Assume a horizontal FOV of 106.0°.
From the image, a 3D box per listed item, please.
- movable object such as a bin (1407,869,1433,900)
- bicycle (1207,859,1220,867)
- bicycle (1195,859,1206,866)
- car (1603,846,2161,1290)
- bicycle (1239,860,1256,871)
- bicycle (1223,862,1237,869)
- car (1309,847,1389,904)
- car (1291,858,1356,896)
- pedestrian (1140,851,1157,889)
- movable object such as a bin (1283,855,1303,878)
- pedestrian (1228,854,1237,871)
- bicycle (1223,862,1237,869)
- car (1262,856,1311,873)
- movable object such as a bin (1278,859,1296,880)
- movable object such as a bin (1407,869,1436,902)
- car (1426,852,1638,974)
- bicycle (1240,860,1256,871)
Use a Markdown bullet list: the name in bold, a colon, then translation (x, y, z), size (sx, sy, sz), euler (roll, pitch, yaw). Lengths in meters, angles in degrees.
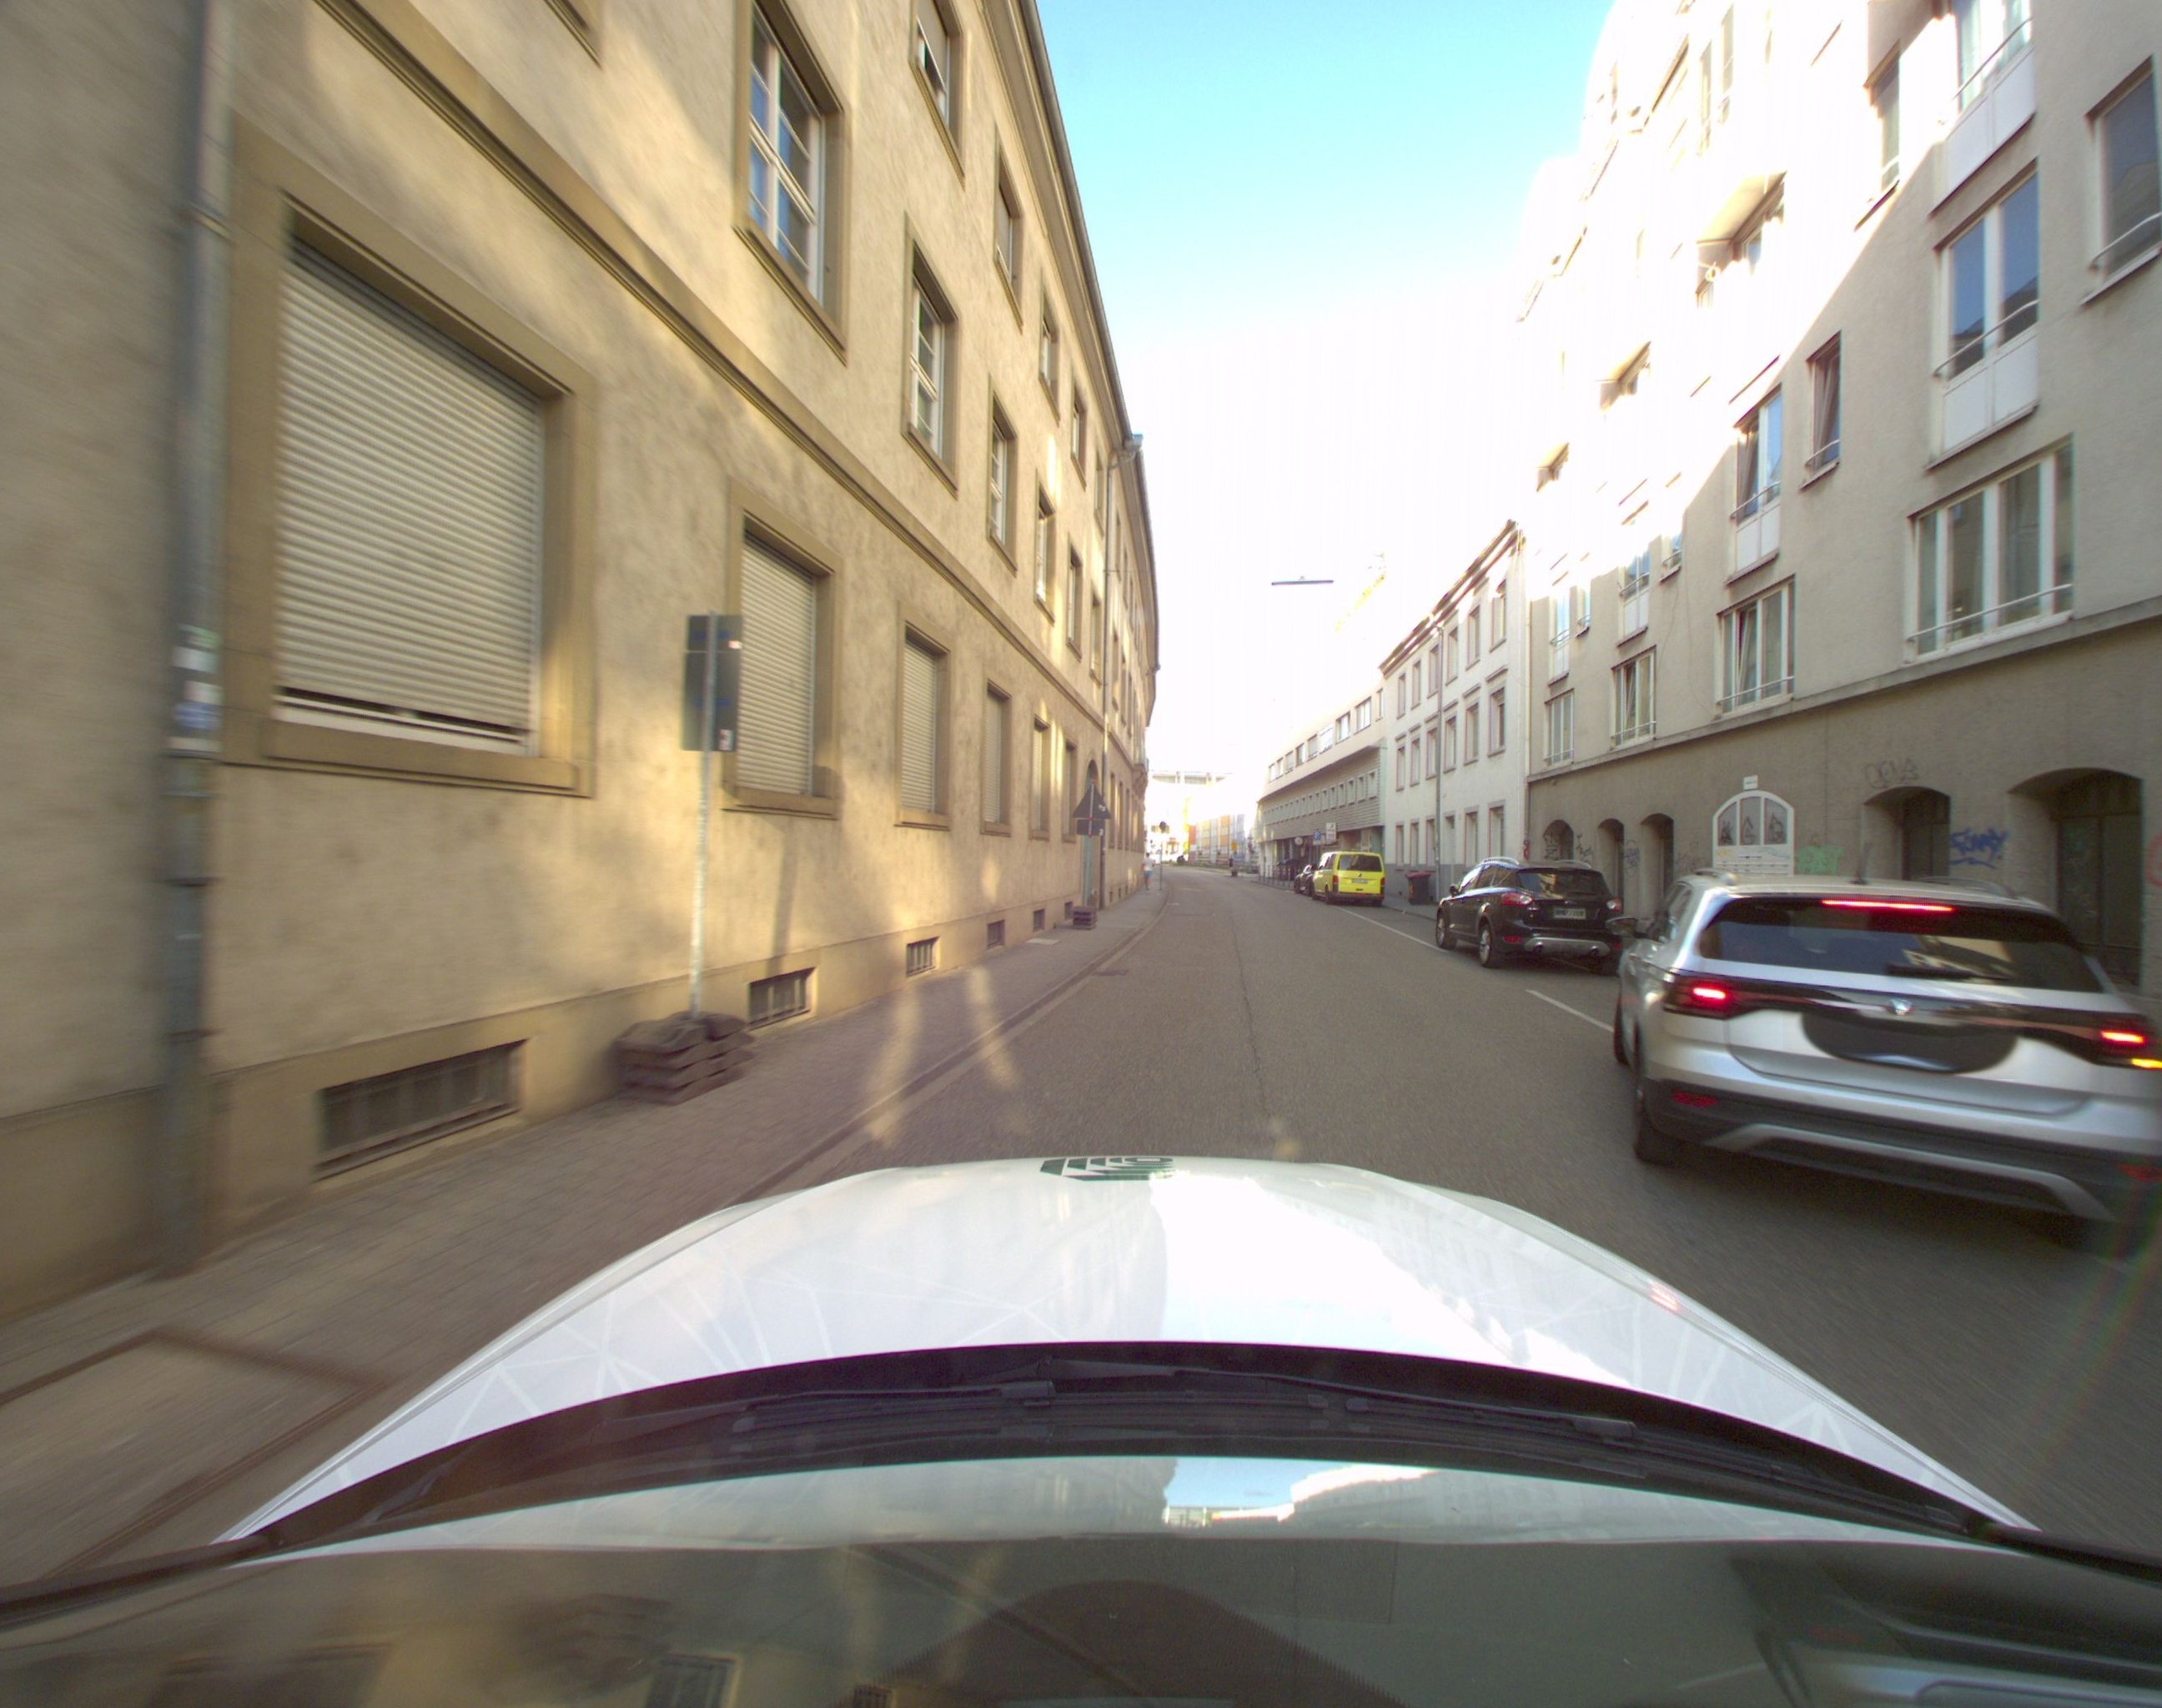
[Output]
- **movable object such as a bin**: translation (11.869, 1.063, 28.535), size (0.603, 1.051, 0.709), euler (-4, -1, 6)
- **bicycle**: translation (19.594, 1.314, 120.238), size (1.804, 1.137, 0.552), euler (0, -1, 0)
- **bicycle**: translation (19.754, 1.395, 134.557), size (1.749, 1.004, 0.612), euler (-1, -1, -3)
- **car**: translation (4.308, 0.784, 4.993), size (1.807, 1.559, 4.011), euler (1, 0, 32)
- **bicycle**: translation (18.381, 1.296, 89.712), size (1.742, 1.141, 0.552), euler (-3, 0, 1)
- **bicycle**: translation (18.931, 1.456, 103.641), size (1.741, 0.946, 0.552), euler (-1, -1, 1)
- **car**: translation (9.763, 0.743, 30.036), size (1.873, 1.882, 4.855), euler (1, 0, 7)
- **car**: translation (10.451, 0.942, 35.415), size (1.874, 1.489, 4.374), euler (1, 0, 5)
- **pedestrian**: translation (3.047, 0.725, 36.744), size (0.689, 1.670, 0.876), euler (2, -1, 6)
- **movable object such as a bin**: translation (14.051, 0.821, 54.039), size (0.976, 1.480, 1.553), euler (-1, -3, 4)
- **pedestrian**: translation (16.355, 0.888, 87.761), size (0.694, 1.760, 1.189), euler (-2, -1, 2)
- **bicycle**: translation (19.121, 1.448, 104.313), size (1.741, 0.946, 0.552), euler (-1, -1, 1)
- **car**: translation (18.487, 0.918, 73.404), size (4.062, 1.482, 1.866), euler (0, -1, 2)
- **movable object such as a bin**: translation (14.072, 1.077, 55.669), size (0.976, 1.385, 1.322), euler (-1, -3, 4)
- **movable object such as a bin**: translation (11.603, 1.057, 27.761), size (0.624, 1.051, 0.709), euler (-4, -1, 2)
- **car**: translation (7.229, 0.824, 13.606), size (1.813, 1.654, 4.507), euler (1, 0, 11)
- **bicycle**: translation (18.678, 1.294, 91.117), size (1.639, 1.141, 0.283), euler (-3, 0, -7)
